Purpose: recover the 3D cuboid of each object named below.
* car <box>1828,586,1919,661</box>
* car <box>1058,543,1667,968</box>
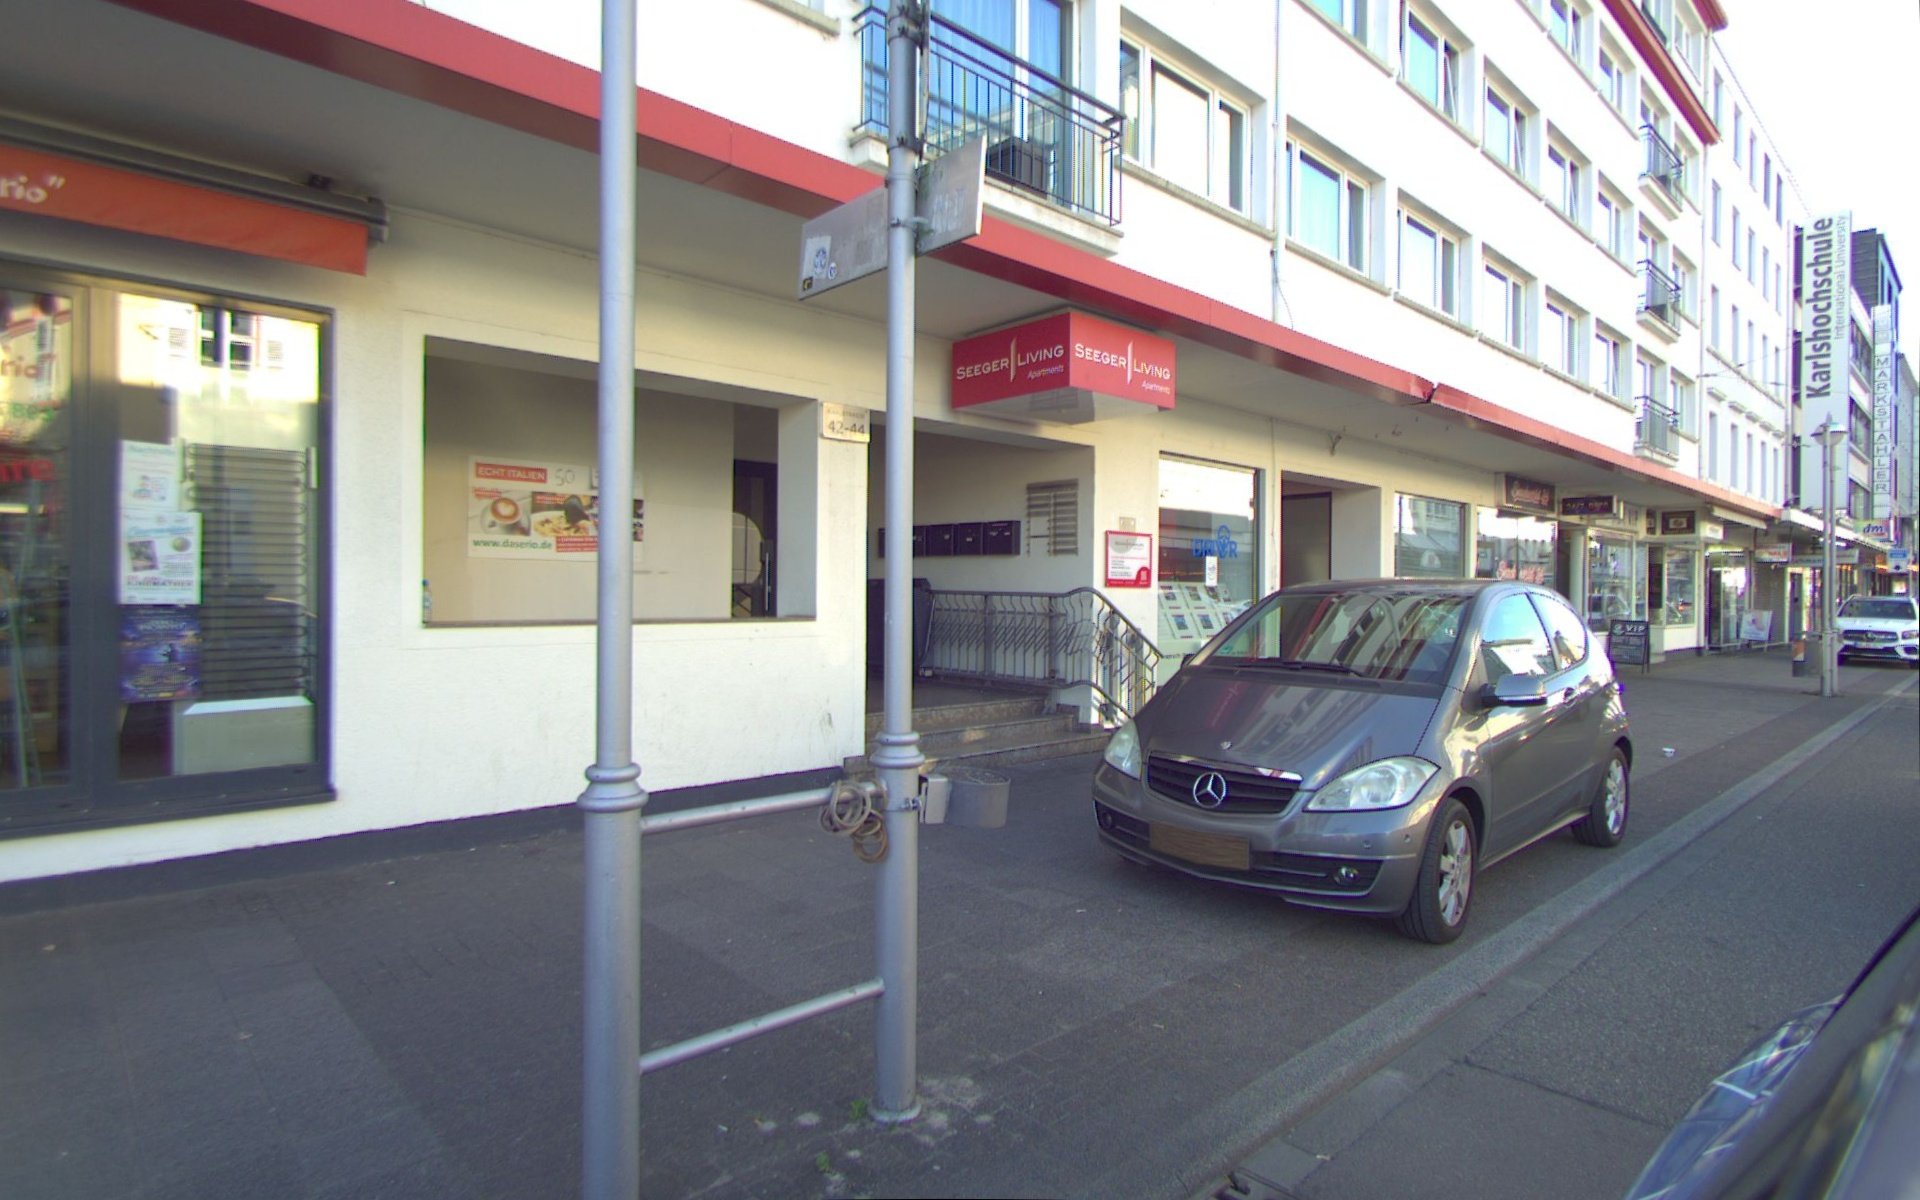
[{"bbox_3d":[22.386,0.514,24.351,1.994,1.650,3.935,1,1,45],"label":"car"},{"bbox_3d":[2.482,0.574,5.694,3.932,1.565,1.681,0,0,-43],"label":"car"}]
